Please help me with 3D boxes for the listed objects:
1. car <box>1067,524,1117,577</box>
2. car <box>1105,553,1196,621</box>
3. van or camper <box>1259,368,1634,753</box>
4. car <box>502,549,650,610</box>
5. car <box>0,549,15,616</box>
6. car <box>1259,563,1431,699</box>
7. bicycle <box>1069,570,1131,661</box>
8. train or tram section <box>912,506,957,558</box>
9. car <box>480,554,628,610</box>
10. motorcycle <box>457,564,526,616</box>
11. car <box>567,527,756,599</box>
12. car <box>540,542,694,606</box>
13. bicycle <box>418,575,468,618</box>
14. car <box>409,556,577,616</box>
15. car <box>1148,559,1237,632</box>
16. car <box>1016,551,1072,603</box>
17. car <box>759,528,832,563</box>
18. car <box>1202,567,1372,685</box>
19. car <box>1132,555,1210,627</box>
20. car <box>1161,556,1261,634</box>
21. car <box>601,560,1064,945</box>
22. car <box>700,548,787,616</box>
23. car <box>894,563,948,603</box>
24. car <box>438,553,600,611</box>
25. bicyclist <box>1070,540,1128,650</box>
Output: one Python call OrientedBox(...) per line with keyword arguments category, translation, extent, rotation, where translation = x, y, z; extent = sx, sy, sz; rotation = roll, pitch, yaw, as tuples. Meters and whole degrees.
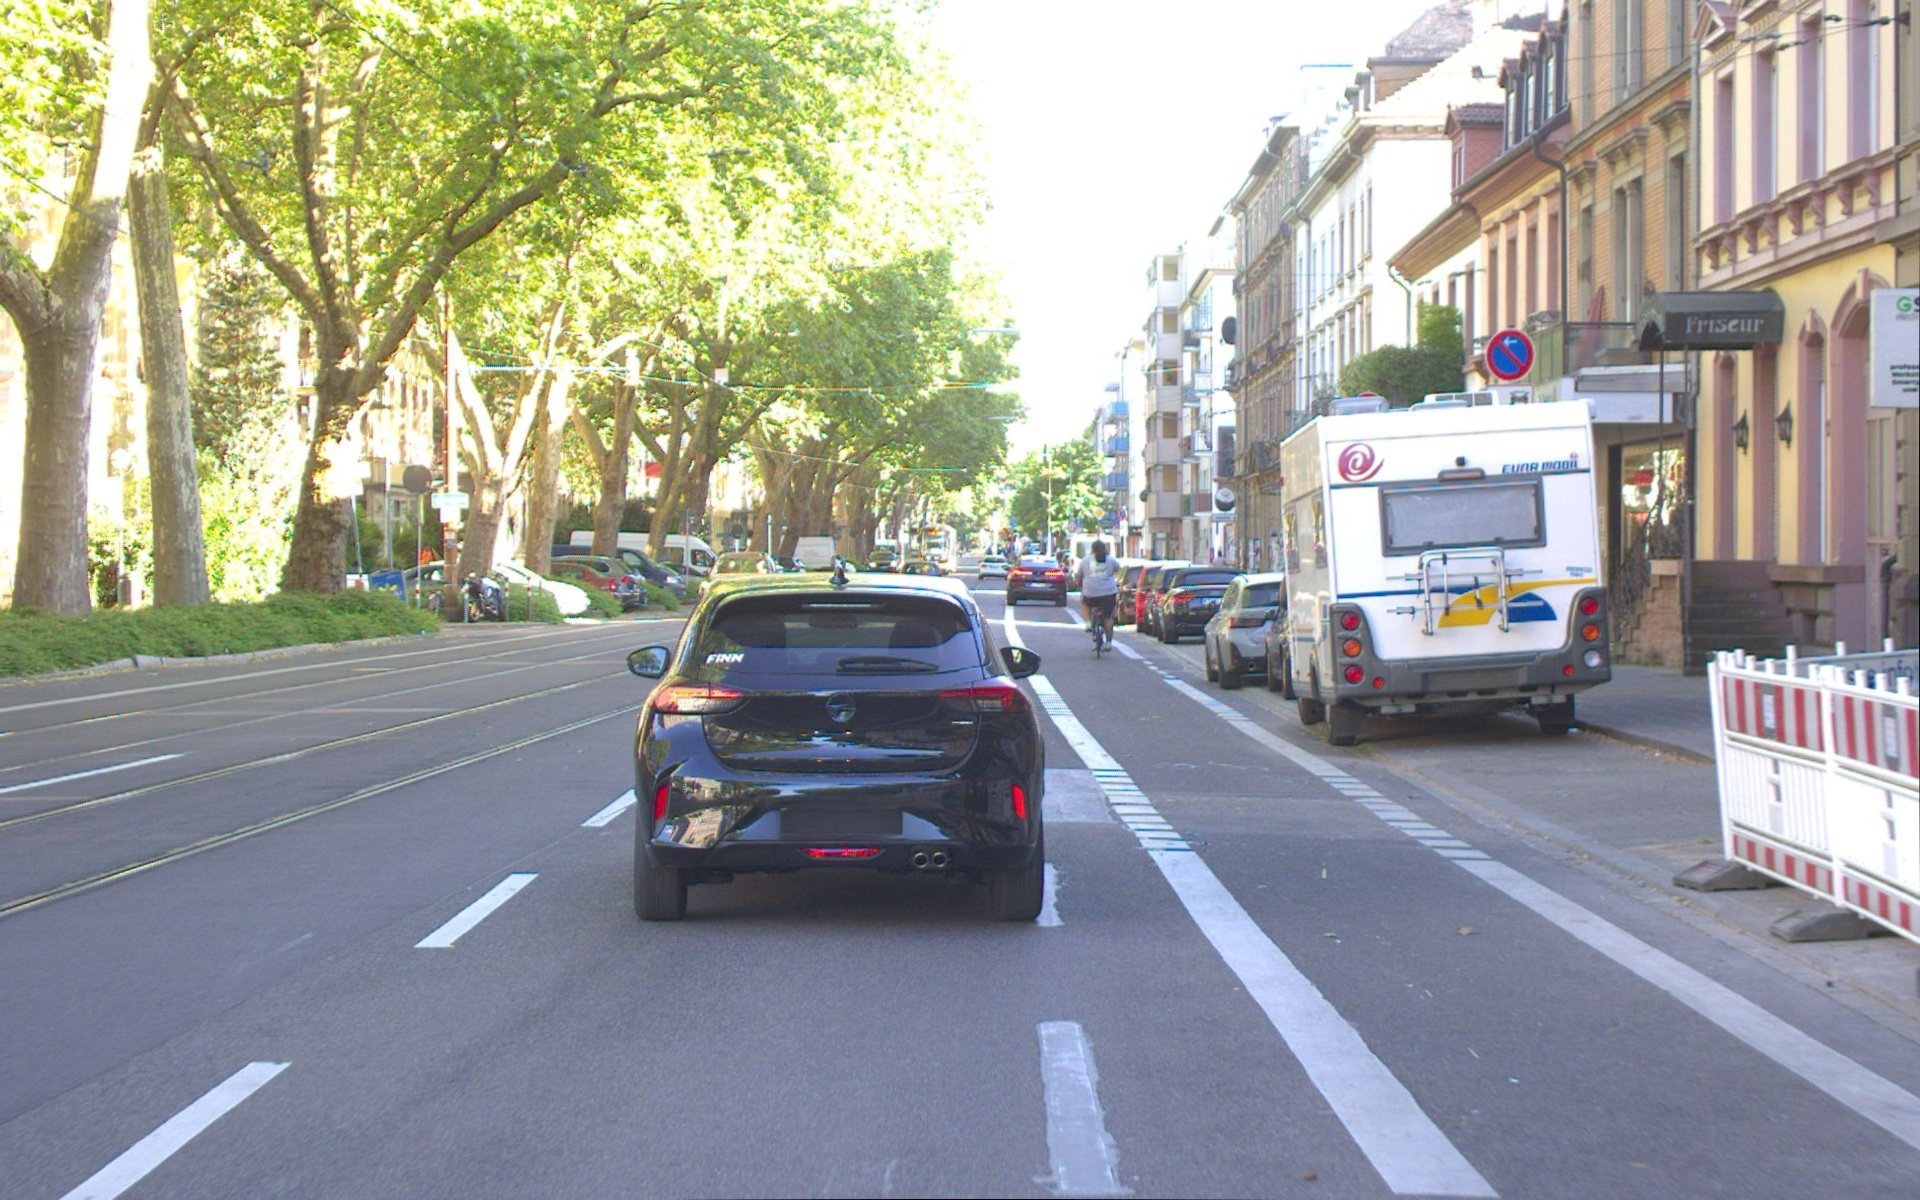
OrientedBox(category="car", translation=(5.911, -2.207, 154.164), extent=(2.075, 2.211, 4.933), rotation=(-3, 0, 2))
OrientedBox(category="car", translation=(4.819, -0.337, 87.476), extent=(1.880, 1.580, 3.933), rotation=(-3, 0, -2))
OrientedBox(category="van or camper", translation=(4.239, -0.354, 31.507), extent=(2.477, 2.962, 7.883), rotation=(-3, 0, 2))
OrientedBox(category="car", translation=(-11.130, -0.588, 99.790), extent=(3.995, 1.621, 1.879), rotation=(2, 0, 1))
OrientedBox(category="car", translation=(-22.971, -0.368, 75.756), extent=(3.776, 1.413, 1.694), rotation=(0, 3, 2))
OrientedBox(category="car", translation=(4.444, 0.321, 40.158), extent=(1.645, 1.429, 4.029), rotation=(-3, 0, 2))
OrientedBox(category="bicycle", translation=(2.213, 0.233, 54.781), extent=(0.860, 1.402, 2.524), rotation=(1, 1, 0))
OrientedBox(category="train or tram section", translation=(-1.828, -4.948, 251.708), extent=(2.735, 3.669, 12.716), rotation=(0, 1, 2))
OrientedBox(category="car", translation=(-11.502, -0.505, 97.601), extent=(3.920, 1.437, 1.749), rotation=(2, 0, 2))
OrientedBox(category="motorcycle", translation=(-10.598, -0.237, 77.790), extent=(0.884, 1.143, 2.390), rotation=(1, 1, 9))
OrientedBox(category="car", translation=(-10.983, -1.370, 126.765), extent=(6.628, 2.401, 2.458), rotation=(2, 0, 2))
OrientedBox(category="car", translation=(-11.122, -0.843, 111.642), extent=(4.675, 1.917, 1.980), rotation=(2, 0, 3))
OrientedBox(category="bicycle", translation=(-11.697, -0.085, 77.834), extent=(0.541, 0.937, 2.033), rotation=(1, 1, 9))
OrientedBox(category="car", translation=(-11.684, -0.359, 86.153), extent=(3.921, 1.448, 1.800), rotation=(1, 0, 1))
OrientedBox(category="car", translation=(4.811, -0.111, 71.522), extent=(1.651, 1.451, 3.868), rotation=(-1, 1, 1))
OrientedBox(category="car", translation=(2.862, -0.795, 116.271), extent=(1.810, 1.736, 3.933), rotation=(0, 1, 2))
OrientedBox(category="car", translation=(-8.993, -2.987, 188.182), extent=(3.919, 1.784, 1.677), rotation=(2, 0, -1))
OrientedBox(category="car", translation=(4.217, 0.300, 44.958), extent=(1.809, 1.430, 4.665), rotation=(-1, 1, 1))
OrientedBox(category="car", translation=(4.648, -0.206, 76.149), extent=(1.634, 1.541, 3.575), rotation=(-1, 1, 2))
OrientedBox(category="car", translation=(4.655, -0.119, 64.234), extent=(1.694, 1.388, 4.494), rotation=(-1, 1, 2))
OrientedBox(category="car", translation=(-0.478, 0.578, 15.229), extent=(1.794, 1.436, 3.531), rotation=(1, 1, 1))
OrientedBox(category="car", translation=(-5.463, -0.475, 87.349), extent=(1.866, 1.624, 4.560), rotation=(0, 1, 1))
OrientedBox(category="car", translation=(-1.341, -0.601, 119.168), extent=(1.810, 1.334, 3.933), rotation=(1, 1, 0))
OrientedBox(category="car", translation=(-11.411, -0.461, 89.043), extent=(3.920, 1.457, 1.805), rotation=(0, 0, 2))
OrientedBox(category="bicyclist", translation=(2.212, -0.084, 54.829), extent=(0.848, 1.734, 1.162), rotation=(1, 1, 0))
